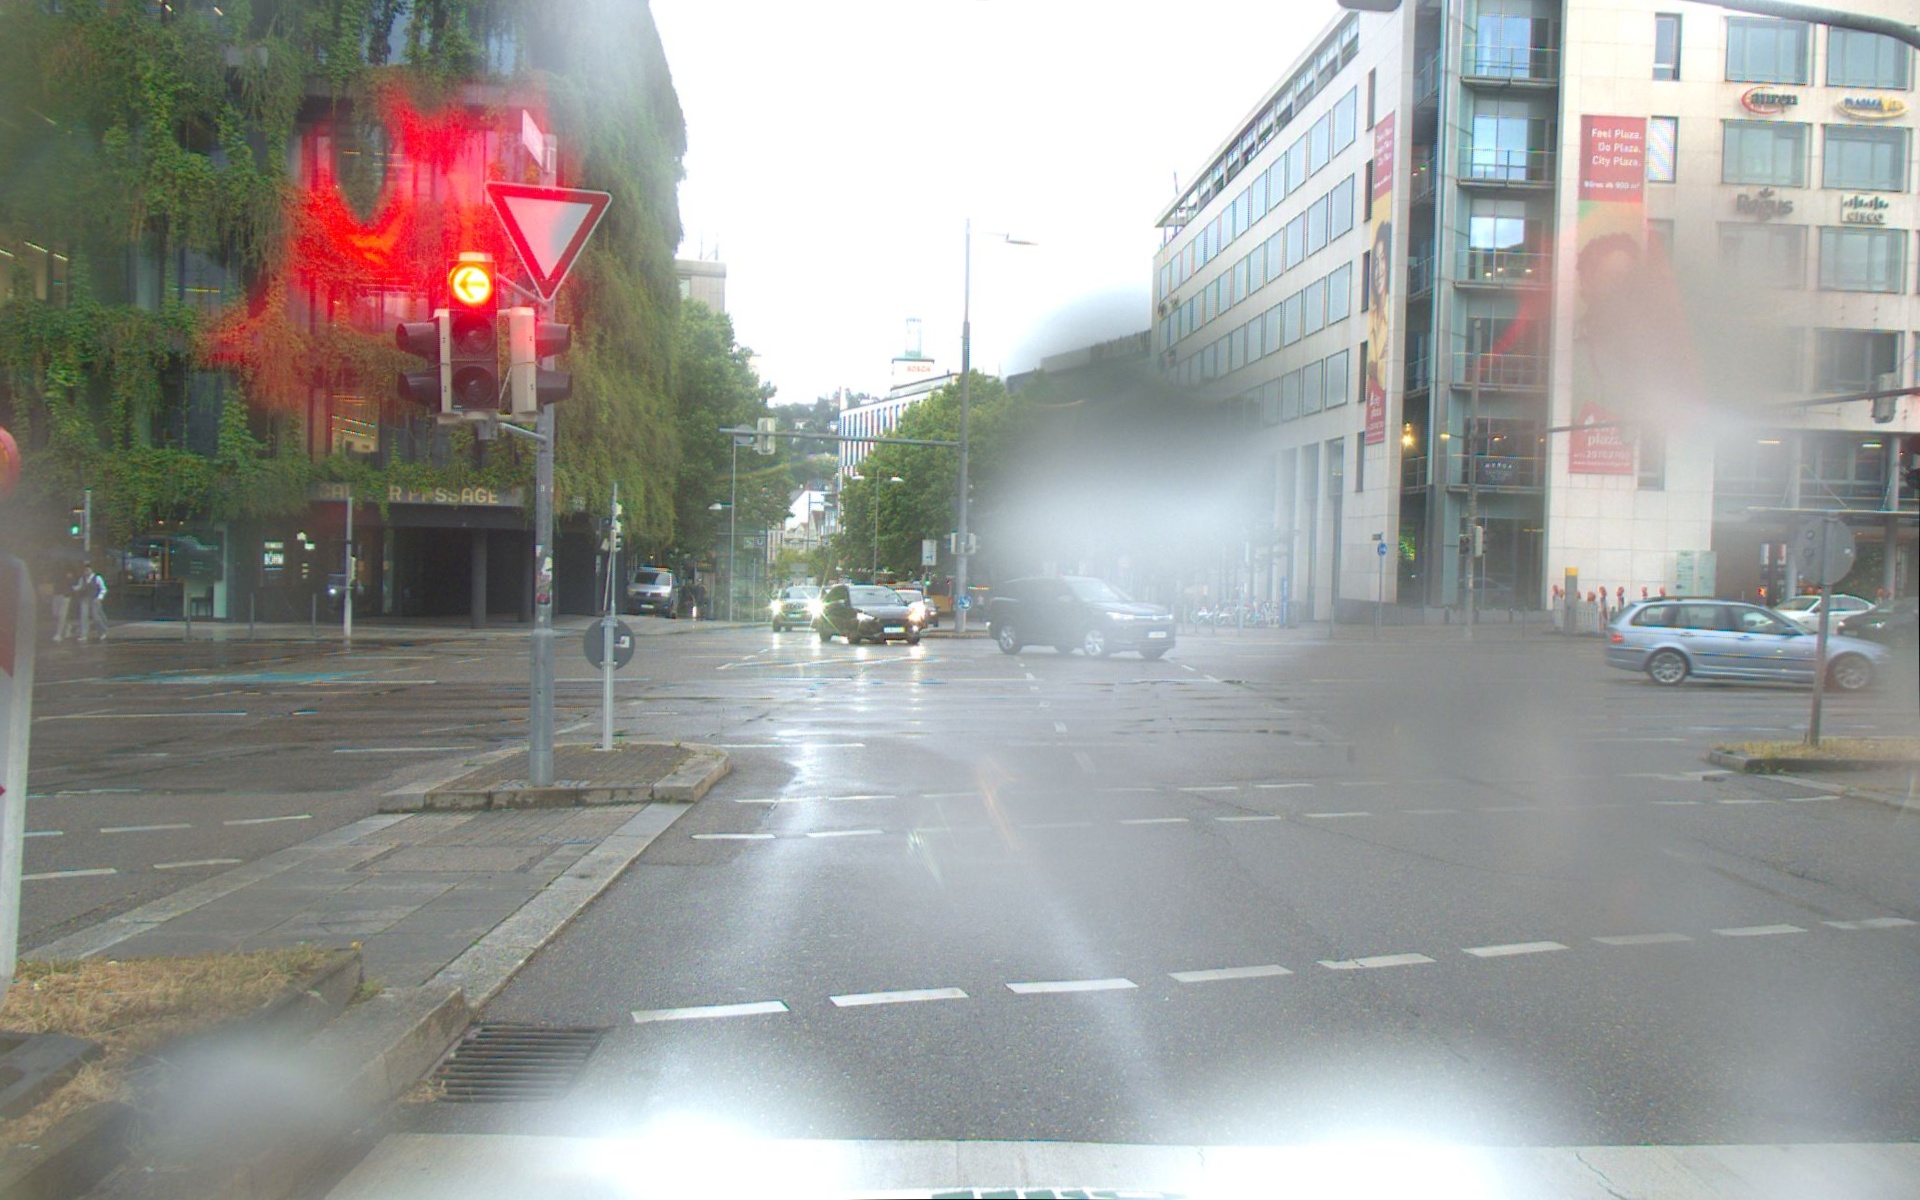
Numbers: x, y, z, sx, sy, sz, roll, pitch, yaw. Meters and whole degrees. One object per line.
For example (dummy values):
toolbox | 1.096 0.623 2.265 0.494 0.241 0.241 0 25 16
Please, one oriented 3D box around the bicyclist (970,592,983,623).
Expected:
bicyclist | 1.082 0.476 108.021 0.775 2.009 1.113 1 0 -3

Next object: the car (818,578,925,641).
car | -2.289 0.192 41.673 1.825 1.473 4.603 0 1 -15

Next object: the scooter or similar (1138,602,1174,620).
scooter or similar | 9.480 0.532 80.041 1.720 0.894 0.486 0 0 -20

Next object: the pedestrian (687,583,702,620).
pedestrian | -11.272 0.055 70.234 0.595 1.550 0.587 1 0 -5

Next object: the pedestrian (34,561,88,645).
pedestrian | -19.469 0.061 35.856 0.923 1.788 1.163 0 0 -24

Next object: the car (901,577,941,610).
car | -1.995 -0.350 83.444 1.953 1.556 4.554 0 2 -2

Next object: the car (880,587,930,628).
car | -2.301 0.270 68.307 1.954 1.556 4.553 0 2 -4

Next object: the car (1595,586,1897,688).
car | 12.885 0.562 27.453 4.358 1.512 2.000 1 2 21

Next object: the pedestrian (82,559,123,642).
pedestrian | -18.747 0.006 36.164 0.731 1.788 0.969 0 0 -24

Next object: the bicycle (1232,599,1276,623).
bicycle | 11.723 0.431 65.994 1.767 0.950 0.473 1 0 41

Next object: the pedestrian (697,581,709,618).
pedestrian | -10.920 -0.026 70.257 0.428 1.550 0.547 1 0 -5

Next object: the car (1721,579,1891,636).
car | 25.362 0.219 49.605 4.378 1.626 1.992 0 0 -16

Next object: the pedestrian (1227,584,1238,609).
pedestrian | 13.335 -0.161 80.856 0.349 1.194 0.410 0 0 -33

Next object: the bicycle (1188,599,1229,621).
bicycle | 10.963 0.450 72.904 1.757 0.950 0.475 1 0 2

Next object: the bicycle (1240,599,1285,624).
bicycle | 11.897 0.432 65.031 1.767 0.950 0.473 1 0 41

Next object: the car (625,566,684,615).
car | -12.526 -0.390 68.111 1.955 1.928 4.460 1 0 -5

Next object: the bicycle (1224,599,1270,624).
bicycle | 11.150 0.430 64.378 1.767 0.950 0.473 1 0 41

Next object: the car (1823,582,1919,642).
car | 26.782 0.346 46.328 4.373 1.626 1.994 1 0 -13

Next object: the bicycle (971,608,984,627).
bicycle | 1.128 1.141 108.022 0.775 1.136 2.255 1 0 -1

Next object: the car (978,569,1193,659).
car | 2.516 0.230 33.957 1.953 1.684 4.299 -1 2 -41

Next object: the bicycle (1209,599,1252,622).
bicycle | 11.607 0.457 71.066 1.757 0.950 0.475 1 0 2

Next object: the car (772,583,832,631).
car | -5.662 0.232 59.607 1.954 1.626 4.462 1 0 -3

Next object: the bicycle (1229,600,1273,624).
bicycle | 11.748 0.469 66.740 1.767 0.950 0.473 1 0 41
